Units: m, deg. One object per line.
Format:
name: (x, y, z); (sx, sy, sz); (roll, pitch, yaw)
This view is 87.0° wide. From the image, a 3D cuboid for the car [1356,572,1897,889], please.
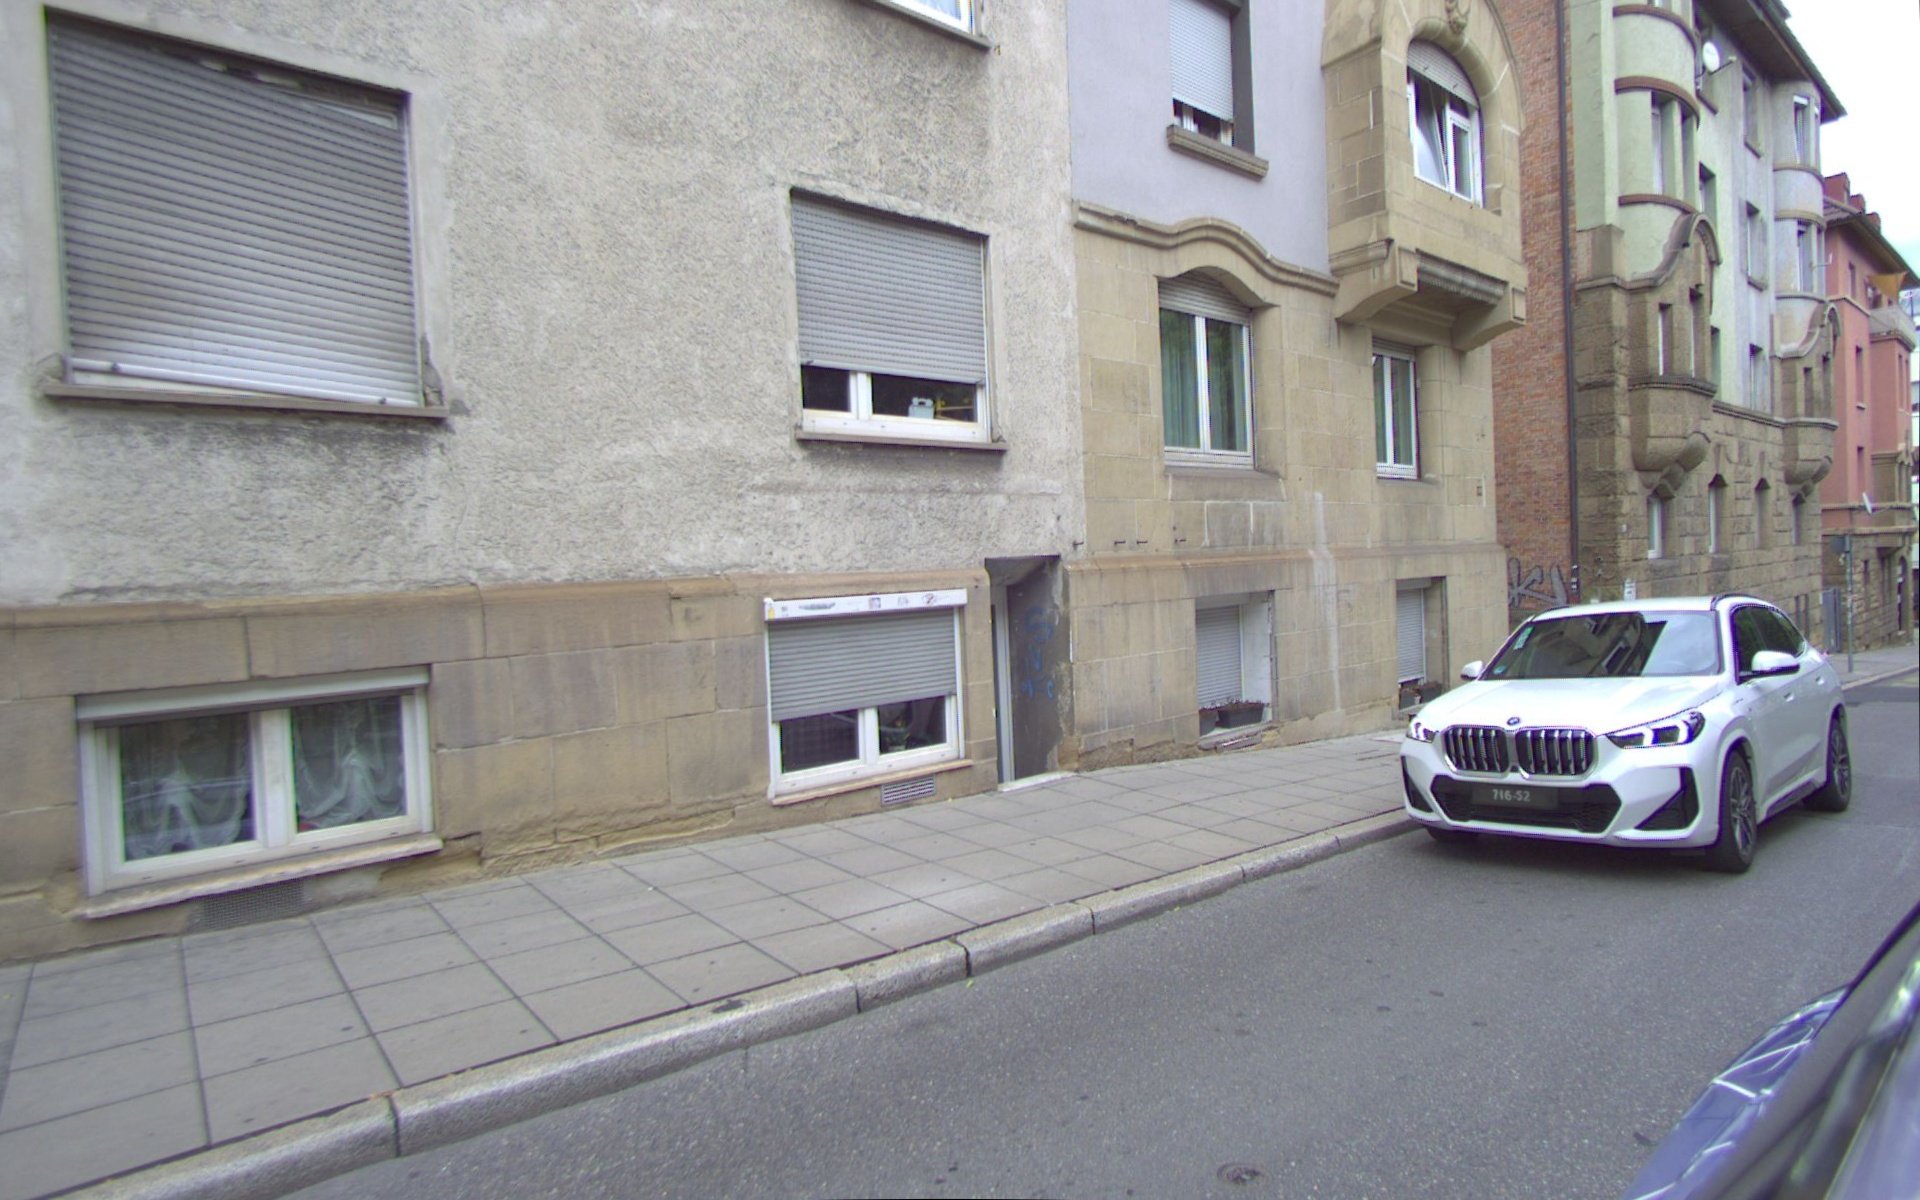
car: (4.996, 0.729, 7.338); (4.480, 1.626, 1.853); (0, -5, -38)
